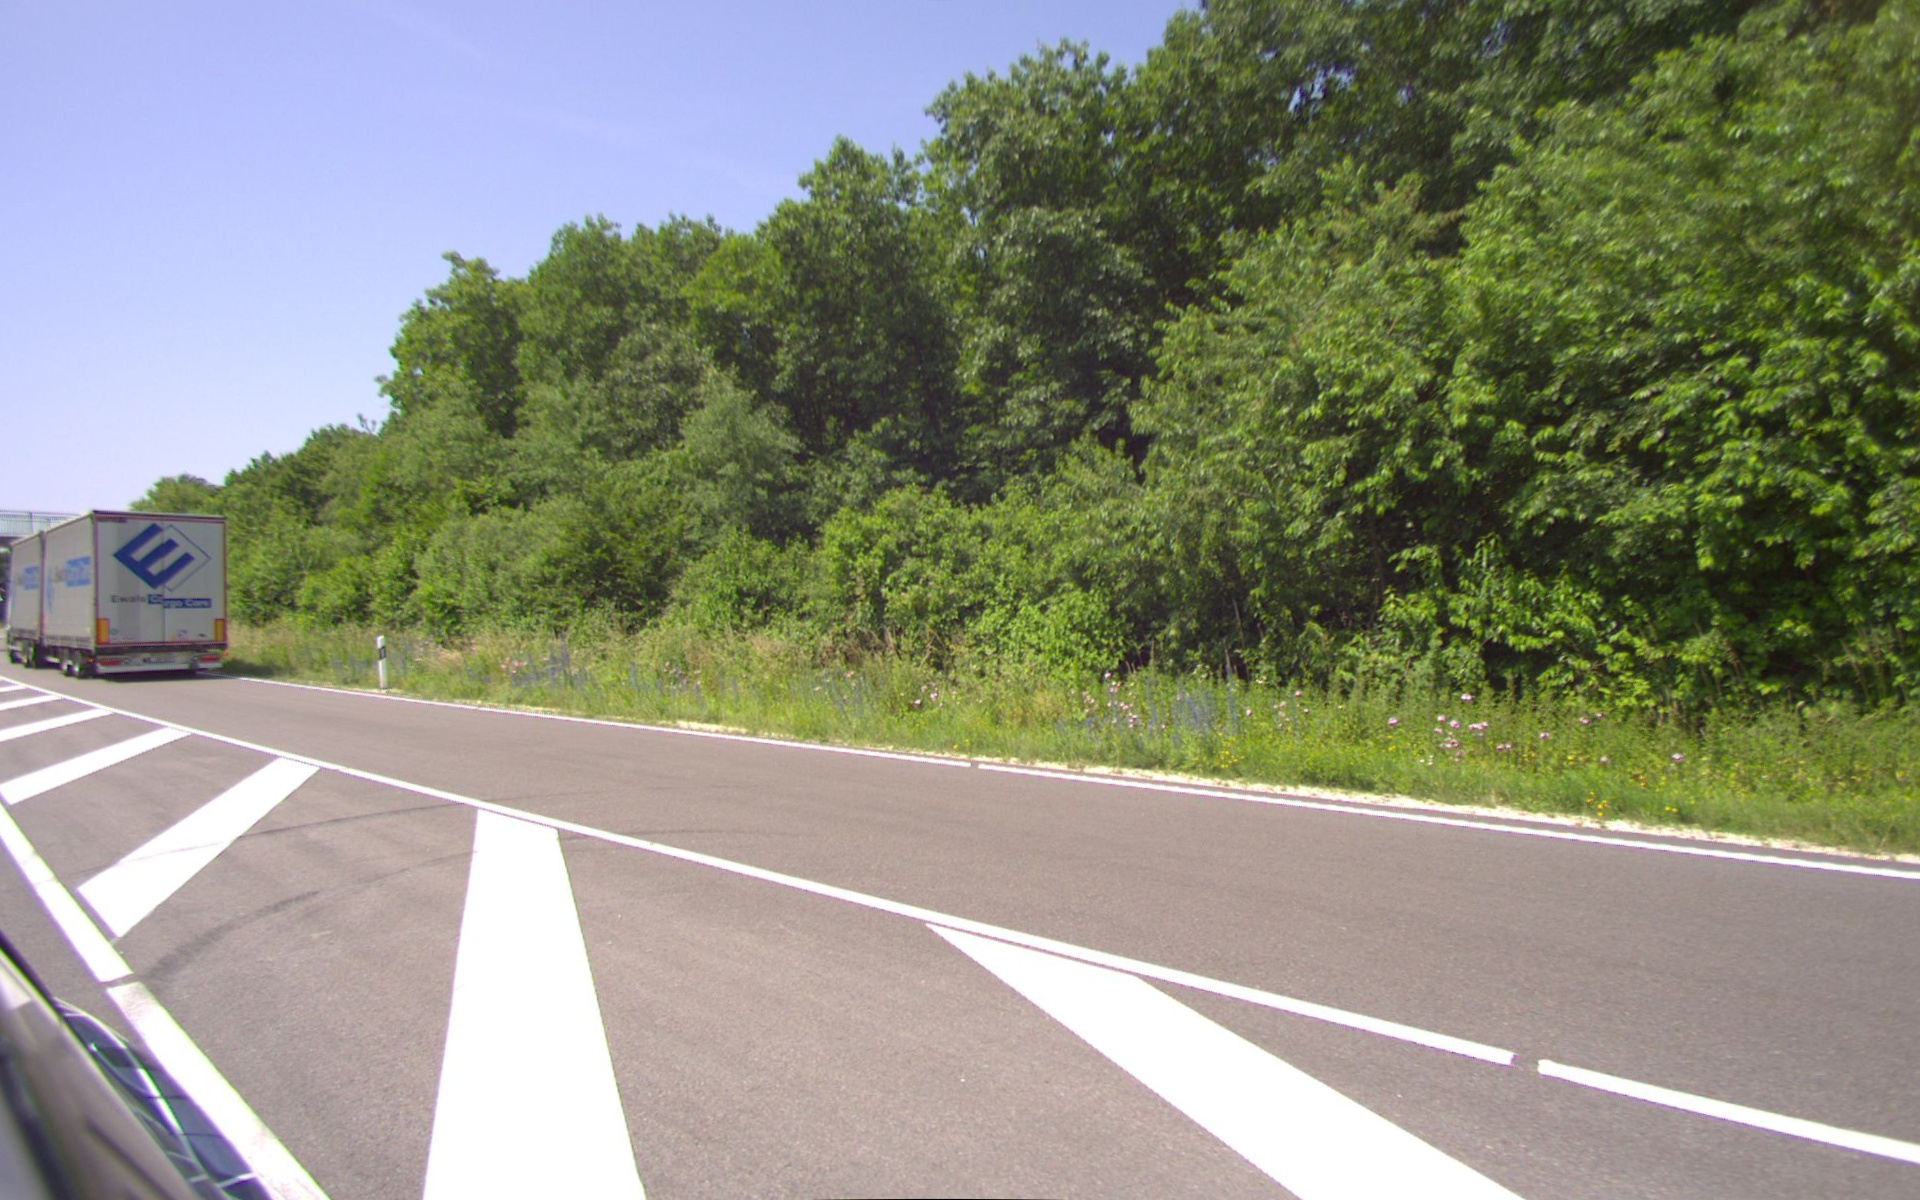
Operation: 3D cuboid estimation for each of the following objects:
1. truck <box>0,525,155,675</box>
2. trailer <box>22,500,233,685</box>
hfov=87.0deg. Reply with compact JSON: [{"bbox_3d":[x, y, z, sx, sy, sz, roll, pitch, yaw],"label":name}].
[{"bbox_3d":[-28.971,0.111,32.567,11.056,4.127,2.769,-2,-1,41],"label":"truck"},{"bbox_3d":[-22.058,-0.086,26.582,8.995,4.127,2.799,-2,-1,41],"label":"trailer"}]
